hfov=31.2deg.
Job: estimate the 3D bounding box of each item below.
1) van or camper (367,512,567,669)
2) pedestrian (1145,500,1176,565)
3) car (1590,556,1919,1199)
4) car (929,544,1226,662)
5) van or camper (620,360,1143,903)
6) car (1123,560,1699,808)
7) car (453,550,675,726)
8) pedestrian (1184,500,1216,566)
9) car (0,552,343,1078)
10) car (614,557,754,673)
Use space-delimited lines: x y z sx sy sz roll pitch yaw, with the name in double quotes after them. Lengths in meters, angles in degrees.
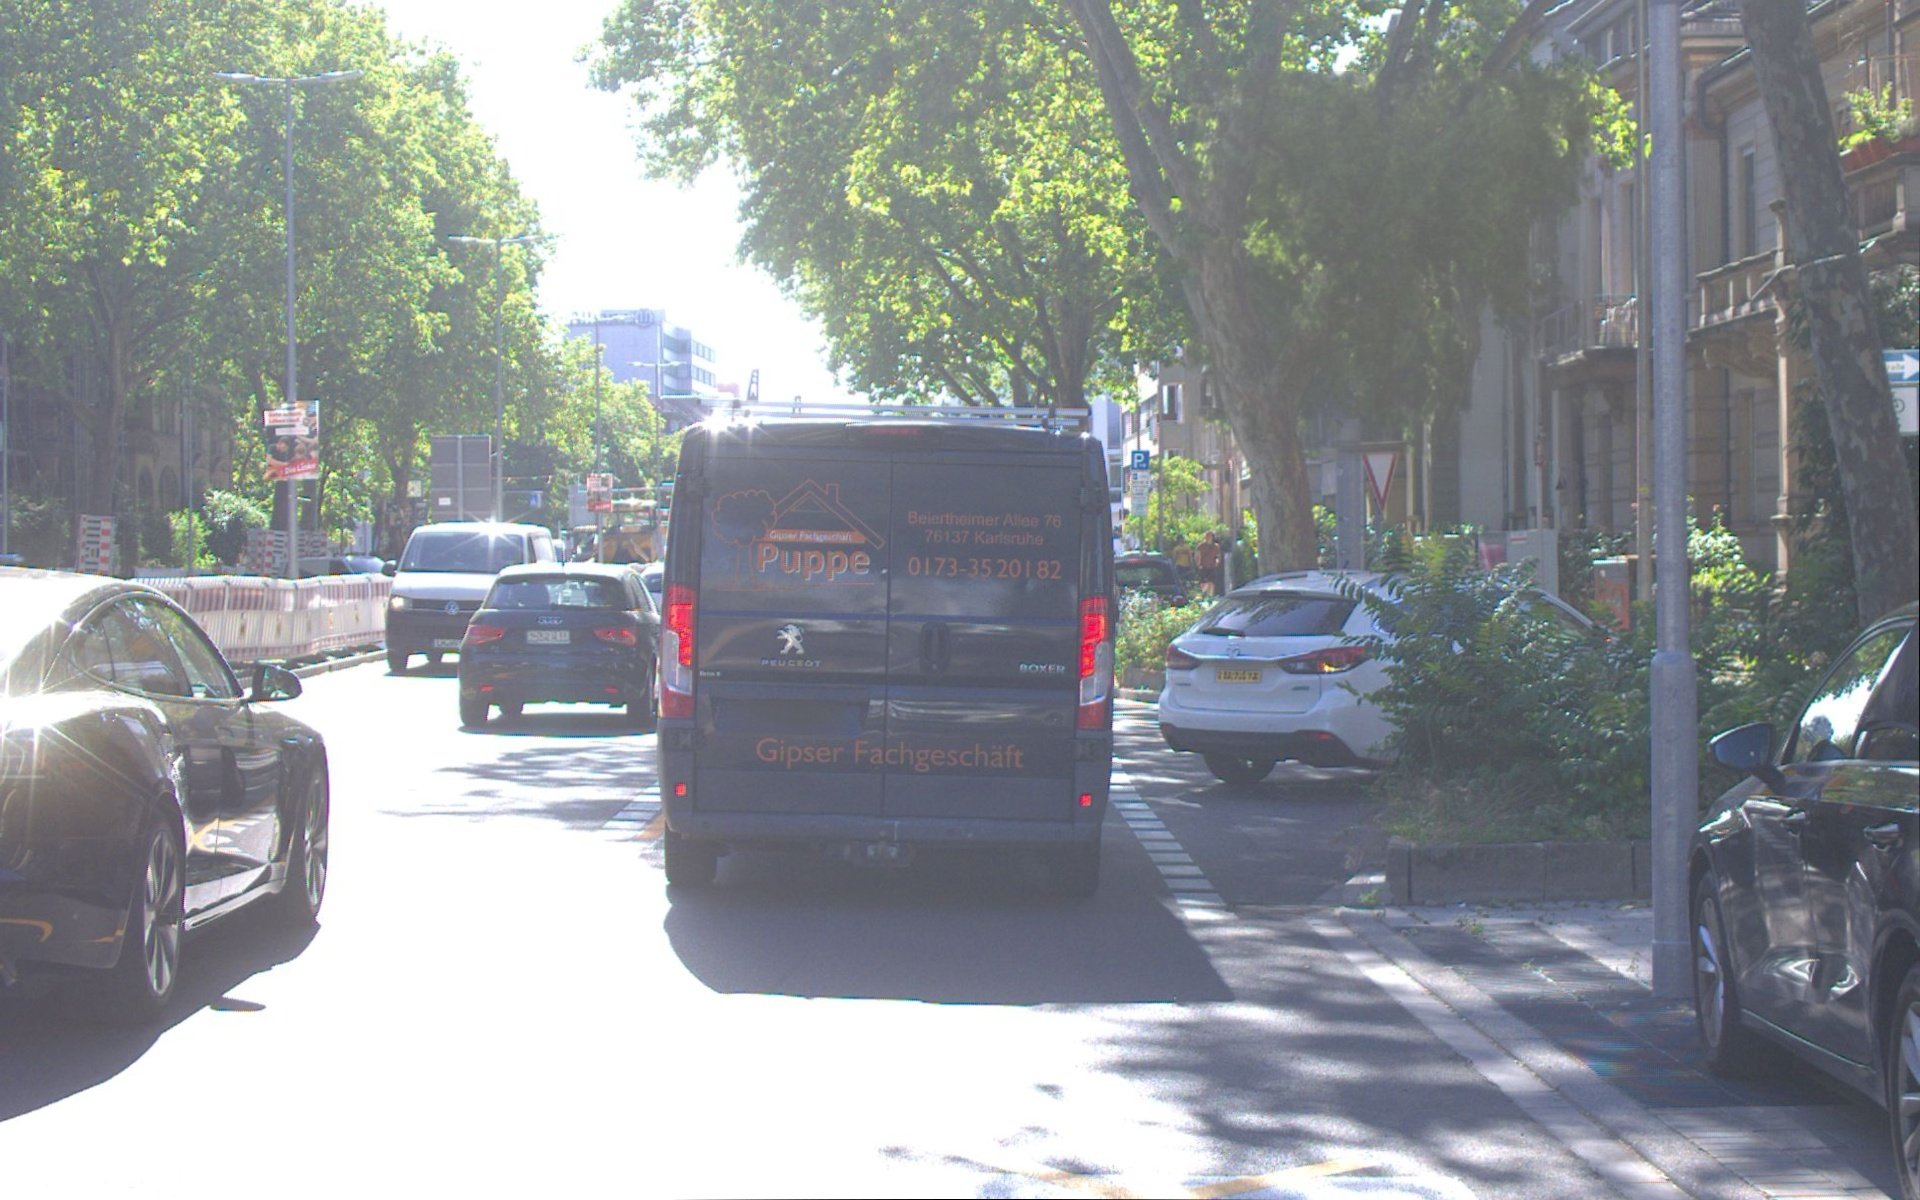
-6.630 -0.157 46.751 1.993 2.007 5.329 0 1 0 "van or camper"
7.286 -2.444 124.800 1.058 2.338 0.816 1 0 2 "pedestrian"
2.823 0.639 8.642 1.619 1.481 4.098 -2 1 -1 "car"
1.665 0.036 49.533 3.997 1.563 1.774 2 1 41 "car"
-0.422 0.109 17.105 2.245 2.338 4.538 0 1 -2 "van or camper"
3.164 0.504 23.607 1.839 1.481 4.046 0 2 45 "car"
-3.519 0.297 31.101 1.619 1.481 3.734 1 1 -1 "car"
8.634 -2.414 123.710 1.058 2.338 0.816 1 0 2 "pedestrian"
-3.428 0.575 11.911 1.837 1.478 4.476 0 1 -1 "car"
-3.665 0.169 46.191 1.619 1.481 3.734 1 1 -1 "car"
